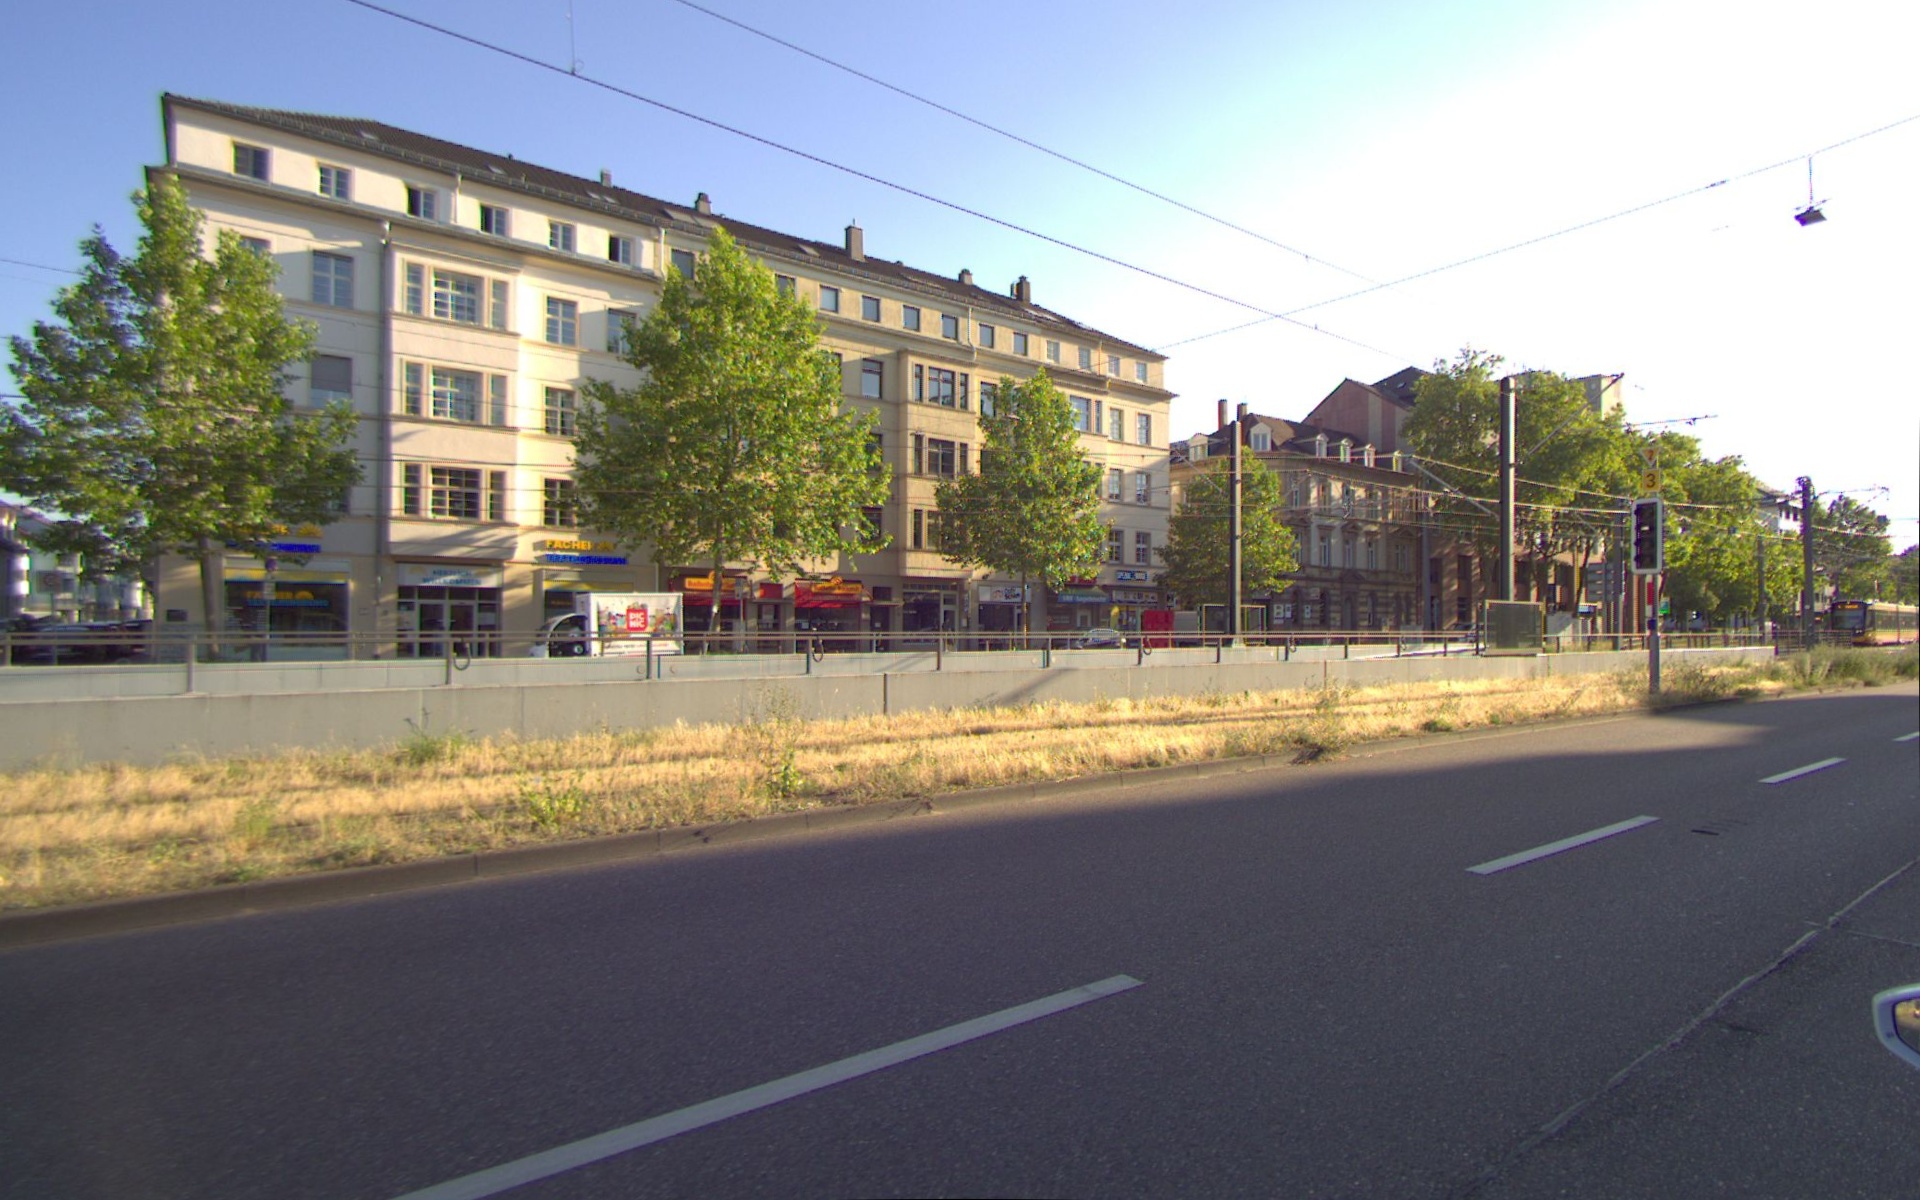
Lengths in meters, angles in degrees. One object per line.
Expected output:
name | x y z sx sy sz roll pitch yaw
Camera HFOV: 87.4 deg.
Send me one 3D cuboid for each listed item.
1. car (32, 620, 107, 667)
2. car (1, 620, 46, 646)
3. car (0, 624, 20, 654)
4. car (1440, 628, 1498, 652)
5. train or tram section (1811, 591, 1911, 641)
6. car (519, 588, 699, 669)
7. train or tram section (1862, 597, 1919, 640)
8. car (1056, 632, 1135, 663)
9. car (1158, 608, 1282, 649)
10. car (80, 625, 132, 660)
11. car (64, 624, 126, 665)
car | -31.385 1.489 35.477 1.534 1.568 3.501 1 -2 -34
car | -54.574 1.909 58.587 1.440 1.447 3.590 1 -1 -36
car | -48.439 1.930 50.258 1.517 1.447 3.836 1 -1 -36
car | 35.142 2.721 69.317 4.692 1.606 1.747 2 -2 -37
train or tram section | 71.555 1.376 79.532 17.324 3.606 3.088 2 -2 -39
car | -10.024 0.807 28.835 4.531 2.162 1.938 1 -2 -38
train or tram section | 86.129 1.774 91.041 19.753 3.606 3.089 2 -2 -38
car | 6.326 2.194 46.663 3.675 1.350 1.444 2 0 -36
car | 15.665 1.727 60.952 2.452 2.296 7.202 2 -2 -42
car | -37.947 1.856 44.701 1.440 1.514 3.836 1 -2 -36
car | -35.142 1.780 40.872 1.534 1.568 3.960 1 -2 -36
